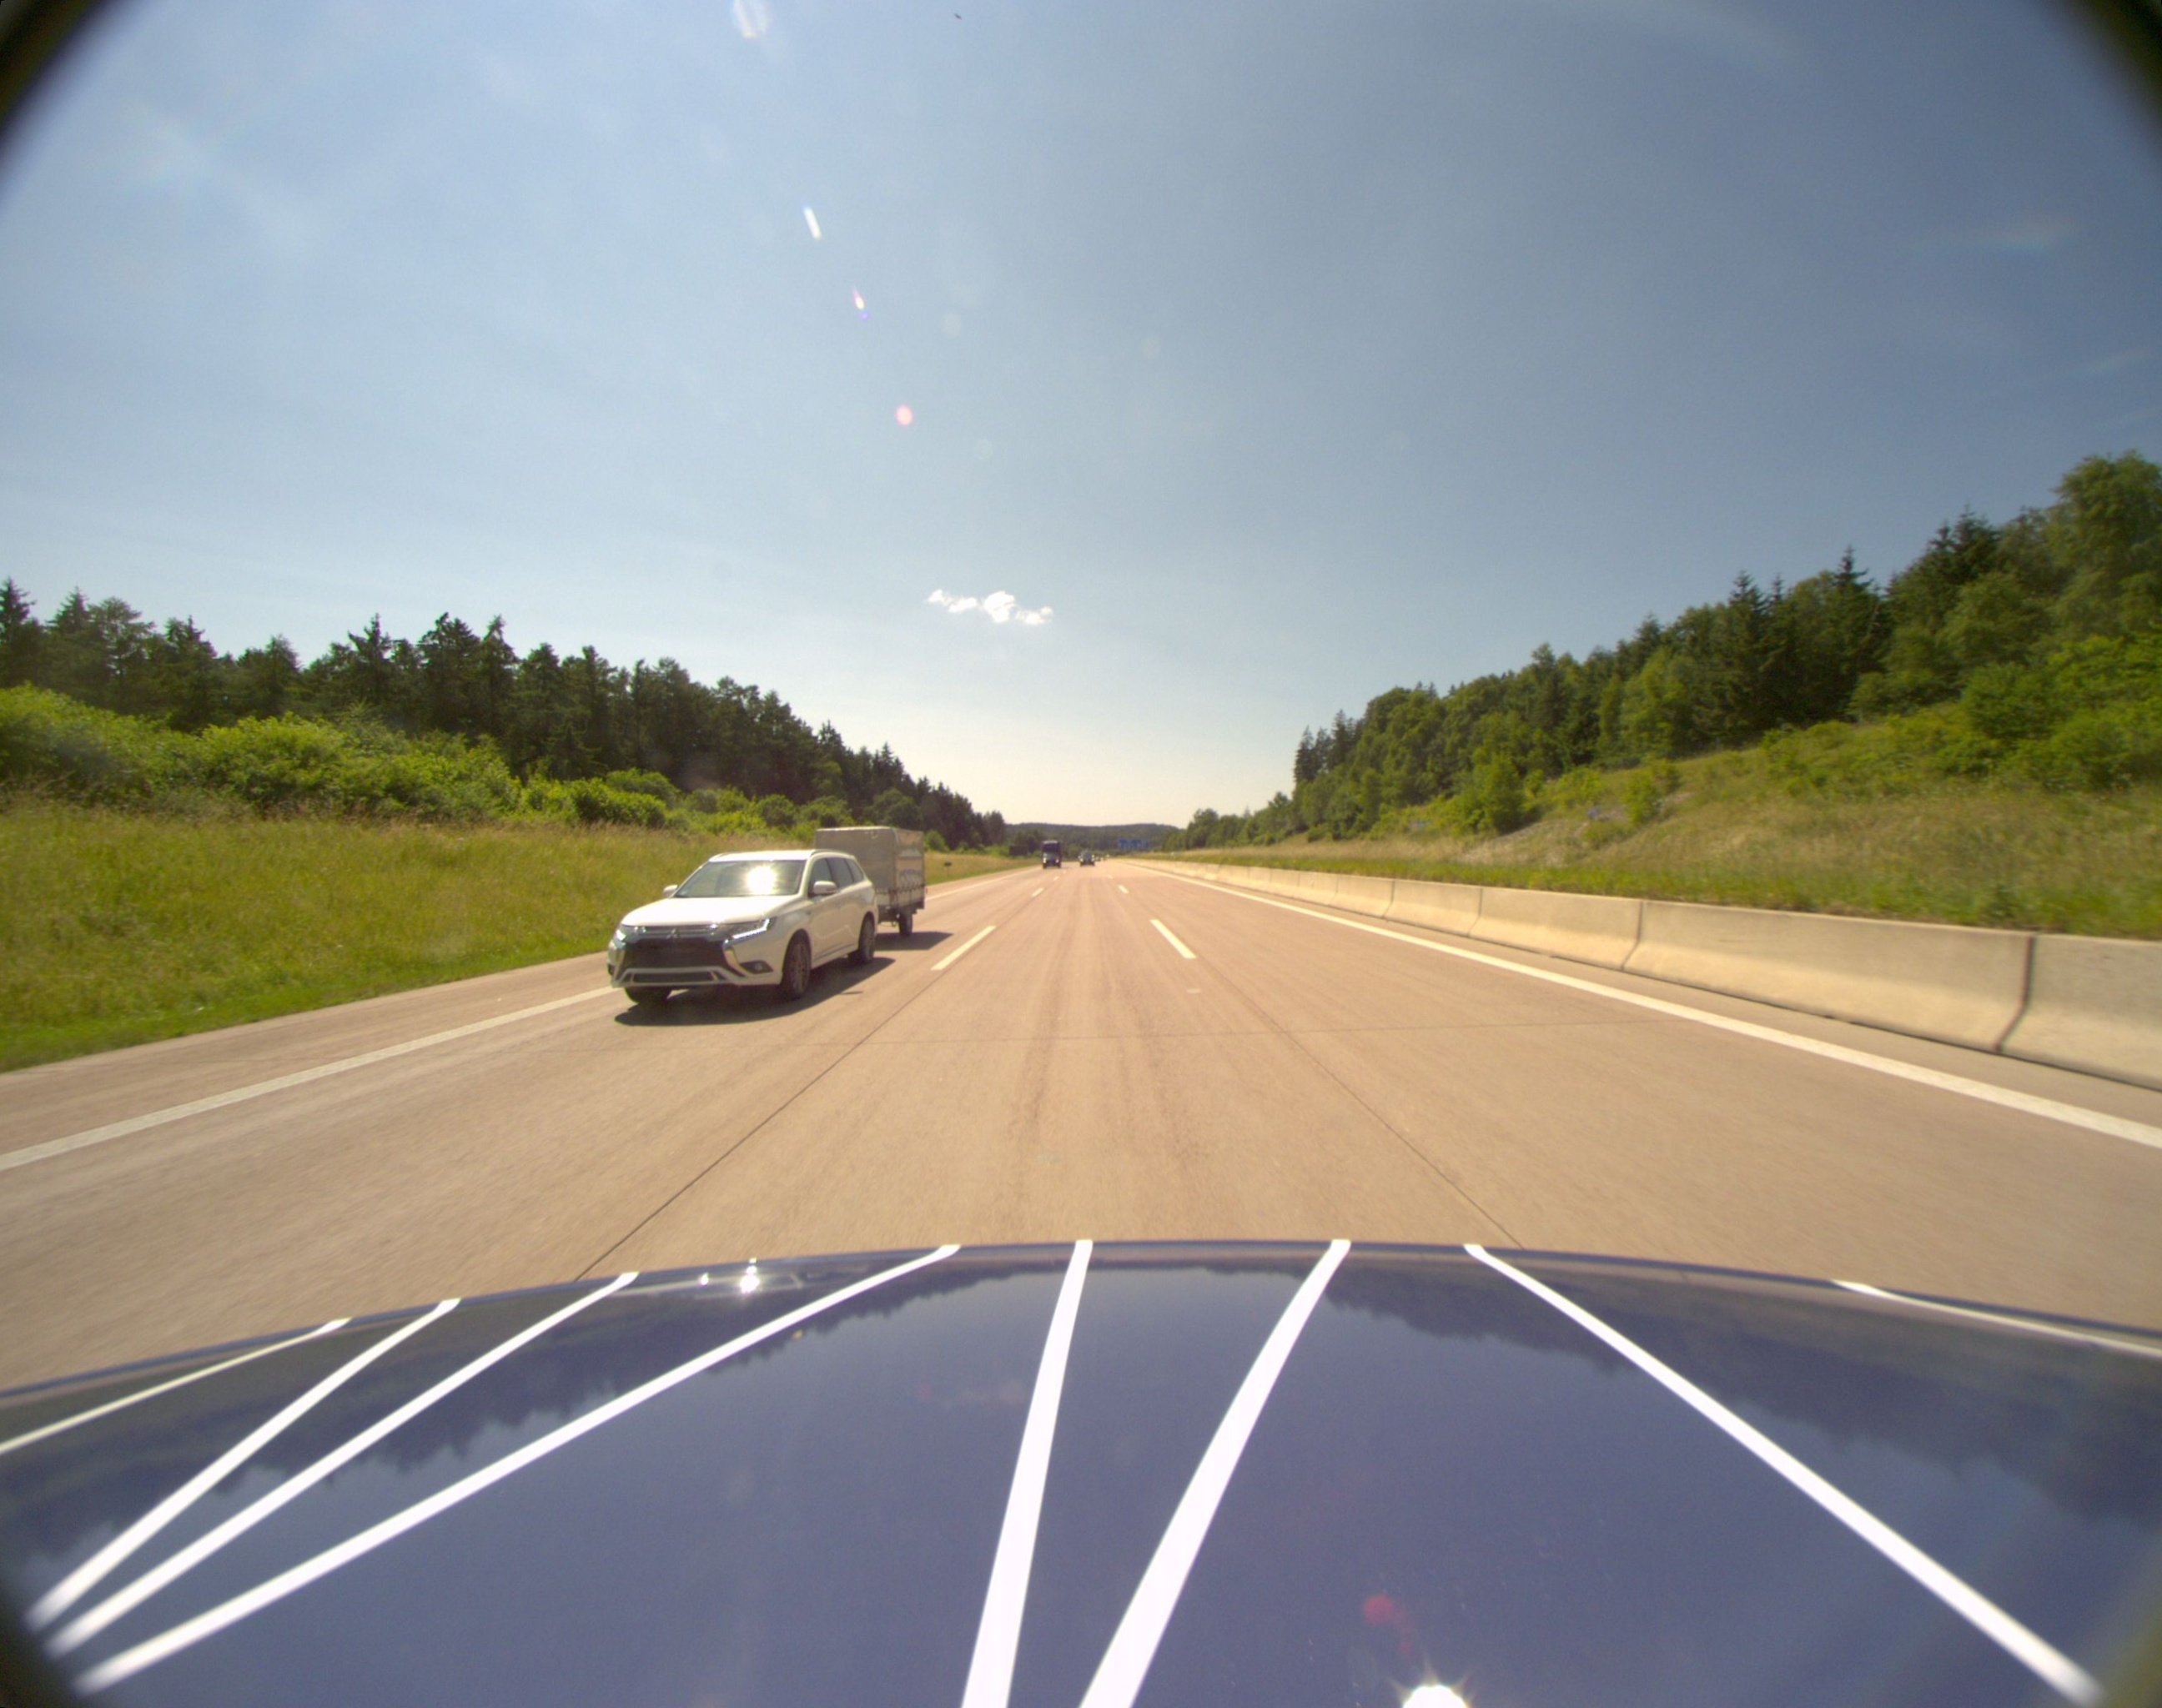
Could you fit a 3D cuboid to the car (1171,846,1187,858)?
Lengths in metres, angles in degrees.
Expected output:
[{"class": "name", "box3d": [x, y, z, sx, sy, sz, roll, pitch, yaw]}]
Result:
[{"class": "car", "box3d": [16.747, -0.308, 129.865, 1.896, 2.052, 4.663, -2, 0, -1]}]

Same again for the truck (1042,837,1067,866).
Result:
[{"class": "truck", "box3d": [-3.133, -0.278, 91.748, 2.508, 3.199, 7.785, -2, 0, 2]}]

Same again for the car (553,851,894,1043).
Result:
[{"class": "car", "box3d": [-3.970, 0.861, 9.691, 1.896, 1.718, 5.185, -2, 0, -1]}]

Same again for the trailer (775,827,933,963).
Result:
[{"class": "trailer", "box3d": [-4.058, 0.656, 14.290, 1.662, 2.151, 4.016, -2, 0, 0]}]

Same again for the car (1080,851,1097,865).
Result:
[{"class": "car", "box3d": [0.971, 0.500, 98.956, 1.998, 1.805, 4.565, -2, 0, 3]}]
